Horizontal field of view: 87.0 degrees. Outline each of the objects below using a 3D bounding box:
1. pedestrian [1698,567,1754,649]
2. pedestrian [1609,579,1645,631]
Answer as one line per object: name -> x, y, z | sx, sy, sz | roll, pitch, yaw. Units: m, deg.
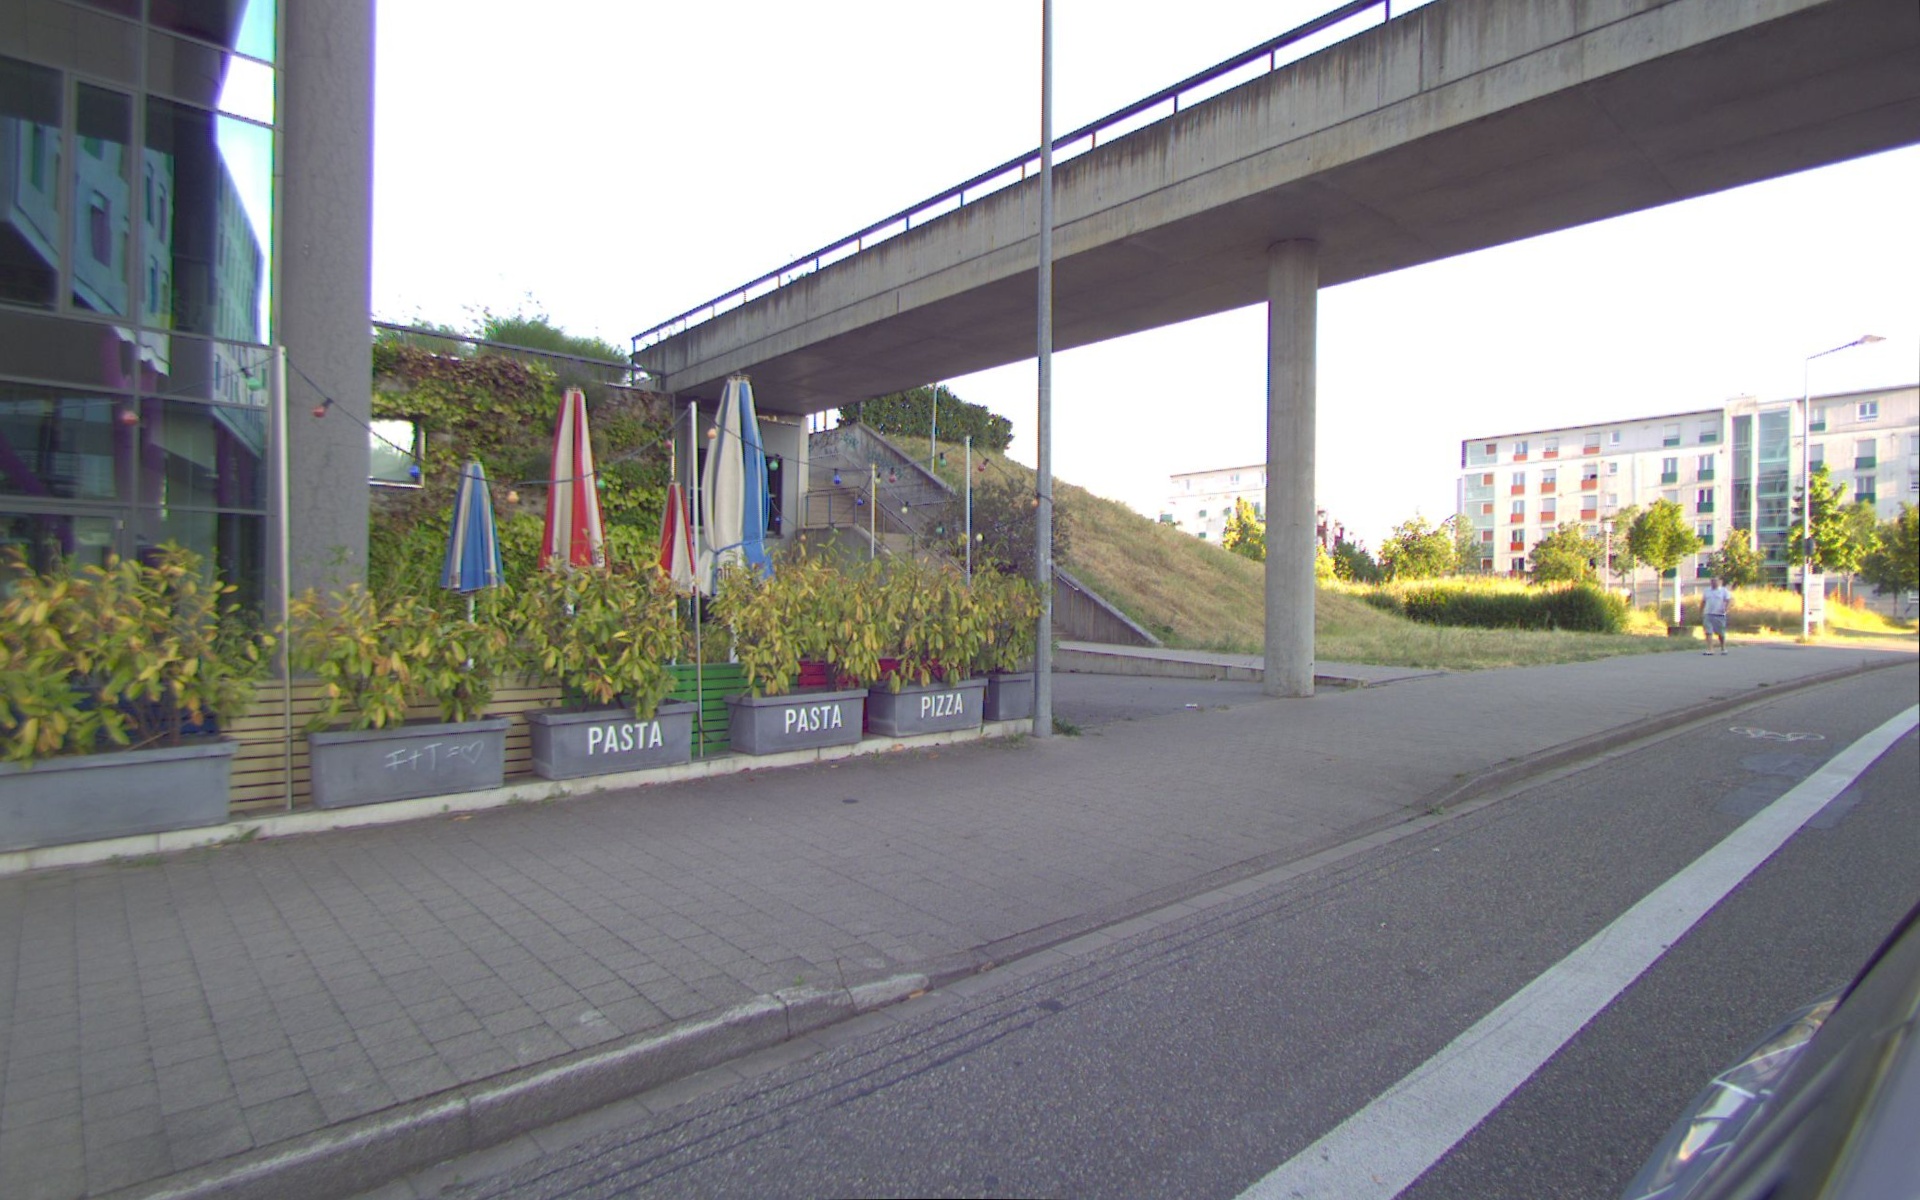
pedestrian -> 16.801, 0.164, 22.199 | 0.890, 1.745, 0.737 | 1, 2, -40
pedestrian -> 22.032, 0.152, 33.435 | 0.844, 1.650, 0.737 | 1, 2, -39
